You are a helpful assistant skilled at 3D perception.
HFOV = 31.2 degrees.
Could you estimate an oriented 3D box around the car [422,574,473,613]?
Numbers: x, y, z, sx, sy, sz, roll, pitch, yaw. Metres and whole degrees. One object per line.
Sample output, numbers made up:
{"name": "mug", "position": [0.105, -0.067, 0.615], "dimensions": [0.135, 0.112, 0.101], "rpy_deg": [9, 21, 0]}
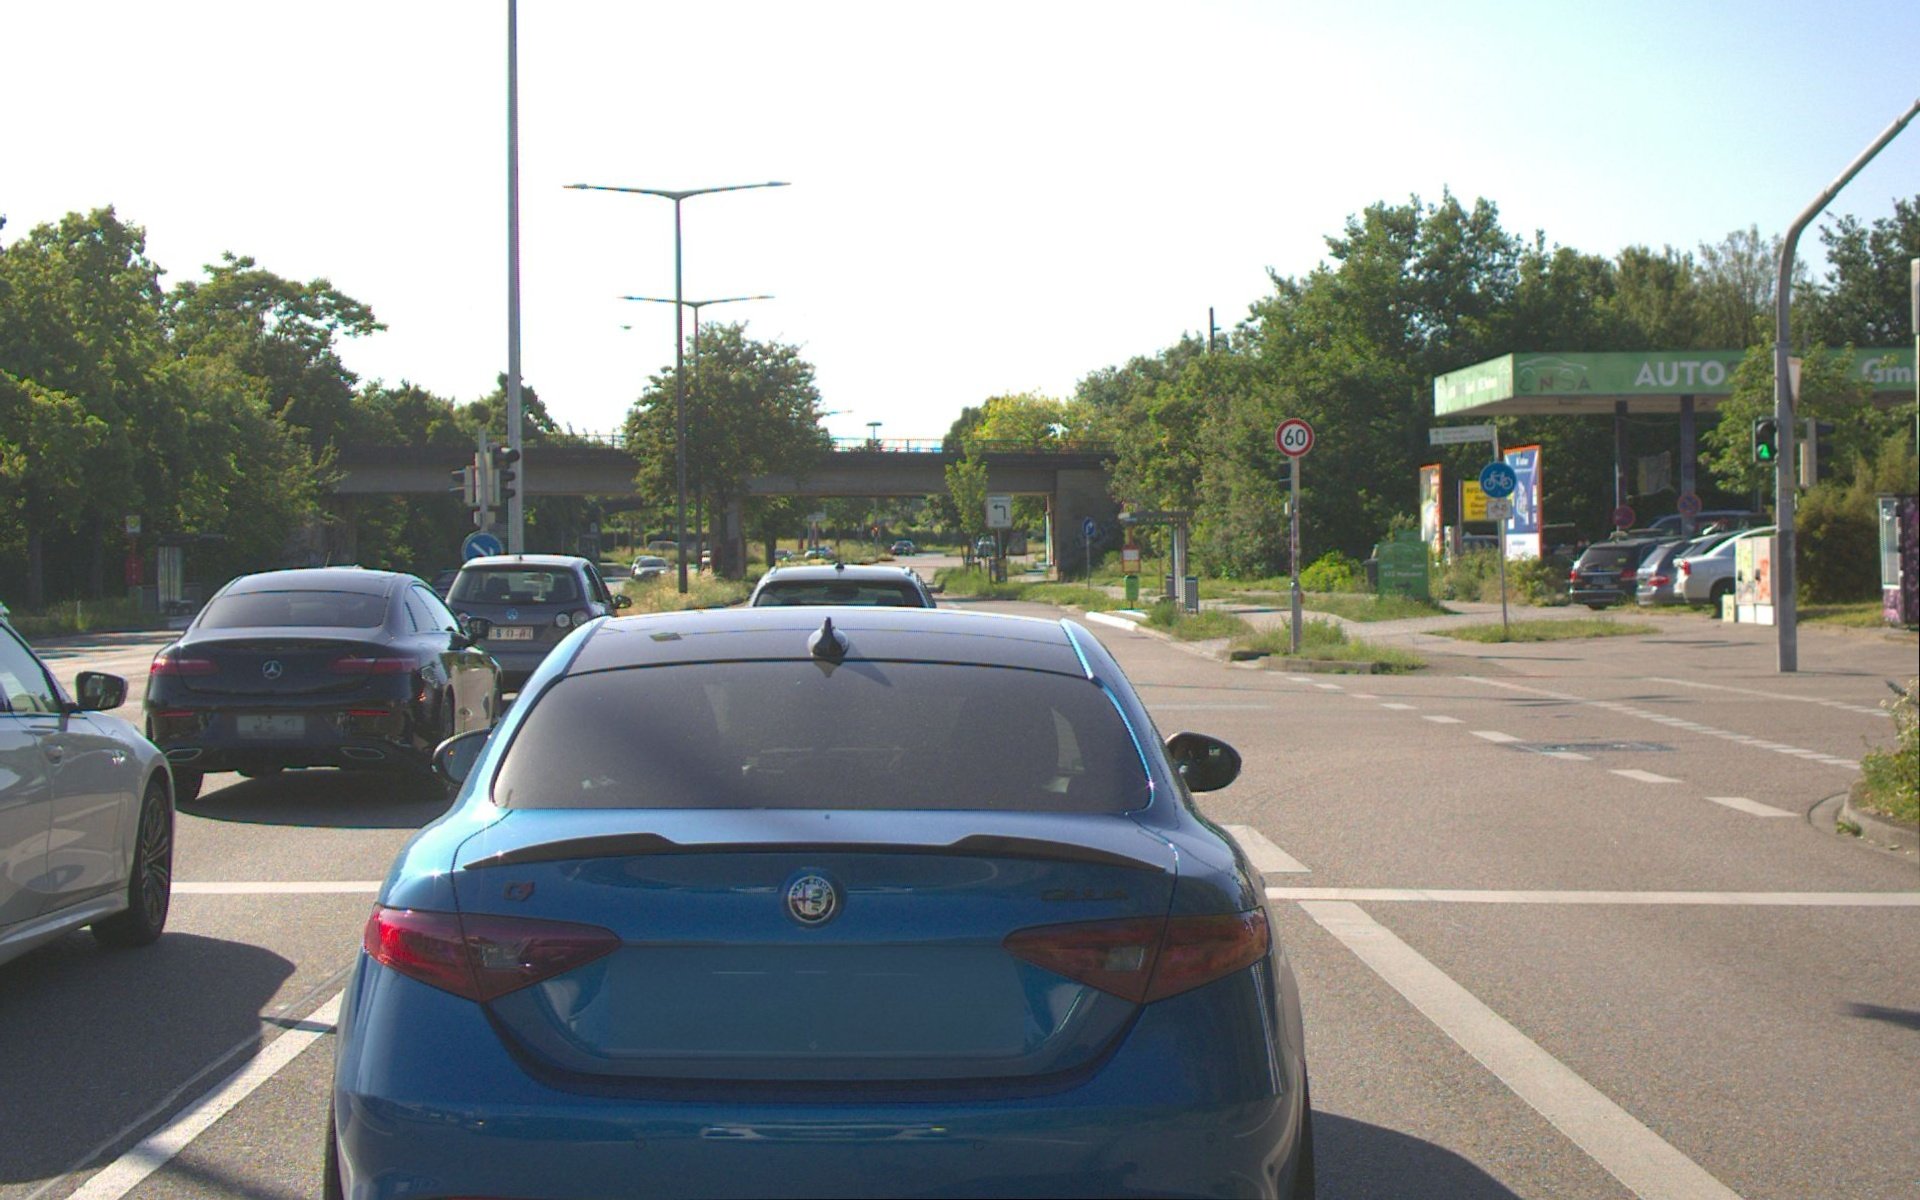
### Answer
{"name": "car", "position": [-20.957, -0.264, 140.600], "dimensions": [1.615, 1.554, 3.358], "rpy_deg": [1, 0, -1]}

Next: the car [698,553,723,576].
{"name": "car", "position": [-18.289, -2.579, 252.439], "dimensions": [1.571, 1.612, 4.000], "rpy_deg": [1, 0, -1]}

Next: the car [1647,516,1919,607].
{"name": "car", "position": [14.811, -0.686, 61.874], "dimensions": [4.489, 1.449, 1.858], "rpy_deg": [-2, 0, 1]}

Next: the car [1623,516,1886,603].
{"name": "car", "position": [14.962, -0.755, 64.903], "dimensions": [4.489, 1.449, 1.858], "rpy_deg": [-2, 0, 1]}

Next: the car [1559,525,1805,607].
{"name": "car", "position": [14.392, -0.673, 68.658], "dimensions": [4.489, 1.449, 1.858], "rpy_deg": [-2, 0, 1]}

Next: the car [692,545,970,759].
{"name": "car", "position": [-0.938, 0.345, 25.355], "dimensions": [1.850, 1.413, 4.403], "rpy_deg": [1, 0, -2]}

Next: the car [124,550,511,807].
{"name": "car", "position": [-4.069, 0.457, 22.462], "dimensions": [1.796, 1.485, 4.476], "rpy_deg": [1, 0, -2]}

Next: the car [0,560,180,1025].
{"name": "car", "position": [-3.967, 0.601, 11.570], "dimensions": [1.785, 1.485, 4.403], "rpy_deg": [1, 0, -2]}

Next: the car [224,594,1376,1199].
{"name": "car", "position": [-0.332, 0.708, 7.904], "dimensions": [1.895, 1.413, 4.403], "rpy_deg": [1, 0, -2]}

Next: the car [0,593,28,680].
{"name": "car", "position": [-17.329, 0.670, 58.419], "dimensions": [1.759, 1.485, 4.478], "rpy_deg": [-2, 0, -1]}

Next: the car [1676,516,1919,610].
{"name": "car", "position": [14.774, -0.655, 59.179], "dimensions": [4.489, 1.449, 1.858], "rpy_deg": [-2, 0, 1]}

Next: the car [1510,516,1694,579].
{"name": "car", "position": [17.133, -1.405, 91.849], "dimensions": [4.551, 1.485, 1.765], "rpy_deg": [-2, 0, 1]}

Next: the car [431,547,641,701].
{"name": "car", "position": [-4.365, 0.229, 35.973], "dimensions": [1.759, 1.485, 4.403], "rpy_deg": [1, 0, -2]}

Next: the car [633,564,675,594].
{"name": "car", "position": [-15.915, -1.105, 178.756], "dimensions": [1.759, 1.485, 4.478], "rpy_deg": [-2, 0, -1]}

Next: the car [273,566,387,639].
{"name": "car", "position": [-13.661, 0.035, 74.745], "dimensions": [1.759, 1.485, 3.837], "rpy_deg": [-2, 0, 0]}
